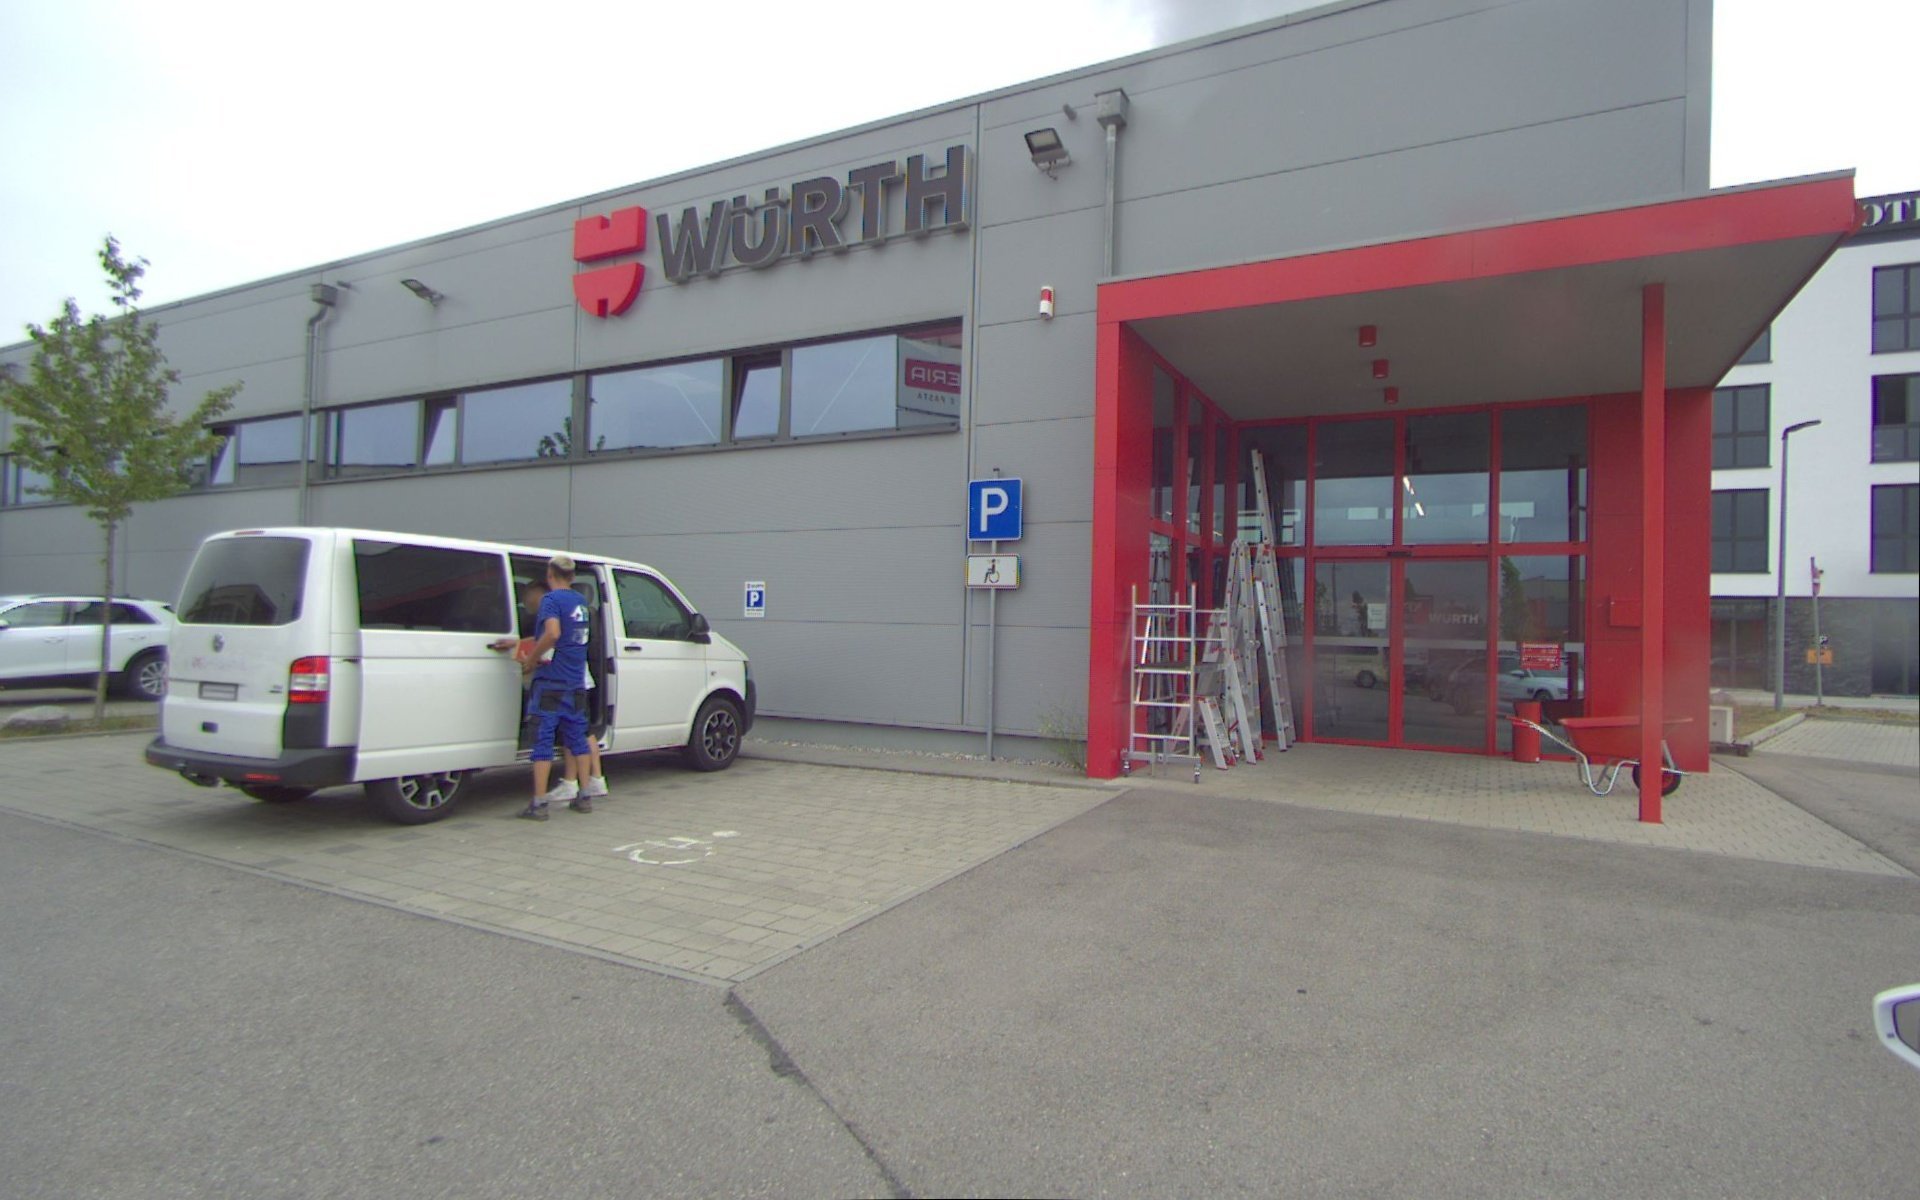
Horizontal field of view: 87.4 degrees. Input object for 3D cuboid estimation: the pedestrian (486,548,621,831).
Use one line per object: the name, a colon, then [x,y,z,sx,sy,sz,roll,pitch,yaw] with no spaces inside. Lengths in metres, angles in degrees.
pedestrian: [-2.839,0.601,7.064,0.577,1.881,0.626,2,-1,11]

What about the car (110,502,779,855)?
car: [-3.715,0.496,8.374,1.901,2.040,4.755,1,-1,25]

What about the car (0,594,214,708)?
car: [-13.772,0.703,14.571,1.727,1.576,4.404,1,-1,31]

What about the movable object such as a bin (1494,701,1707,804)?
movable object such as a bin: [5.724,1.340,9.079,1.556,0.725,0.802,0,-1,30]

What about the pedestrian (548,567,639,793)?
pedestrian: [-2.909,0.613,7.969,0.575,1.724,0.360,1,-1,30]
